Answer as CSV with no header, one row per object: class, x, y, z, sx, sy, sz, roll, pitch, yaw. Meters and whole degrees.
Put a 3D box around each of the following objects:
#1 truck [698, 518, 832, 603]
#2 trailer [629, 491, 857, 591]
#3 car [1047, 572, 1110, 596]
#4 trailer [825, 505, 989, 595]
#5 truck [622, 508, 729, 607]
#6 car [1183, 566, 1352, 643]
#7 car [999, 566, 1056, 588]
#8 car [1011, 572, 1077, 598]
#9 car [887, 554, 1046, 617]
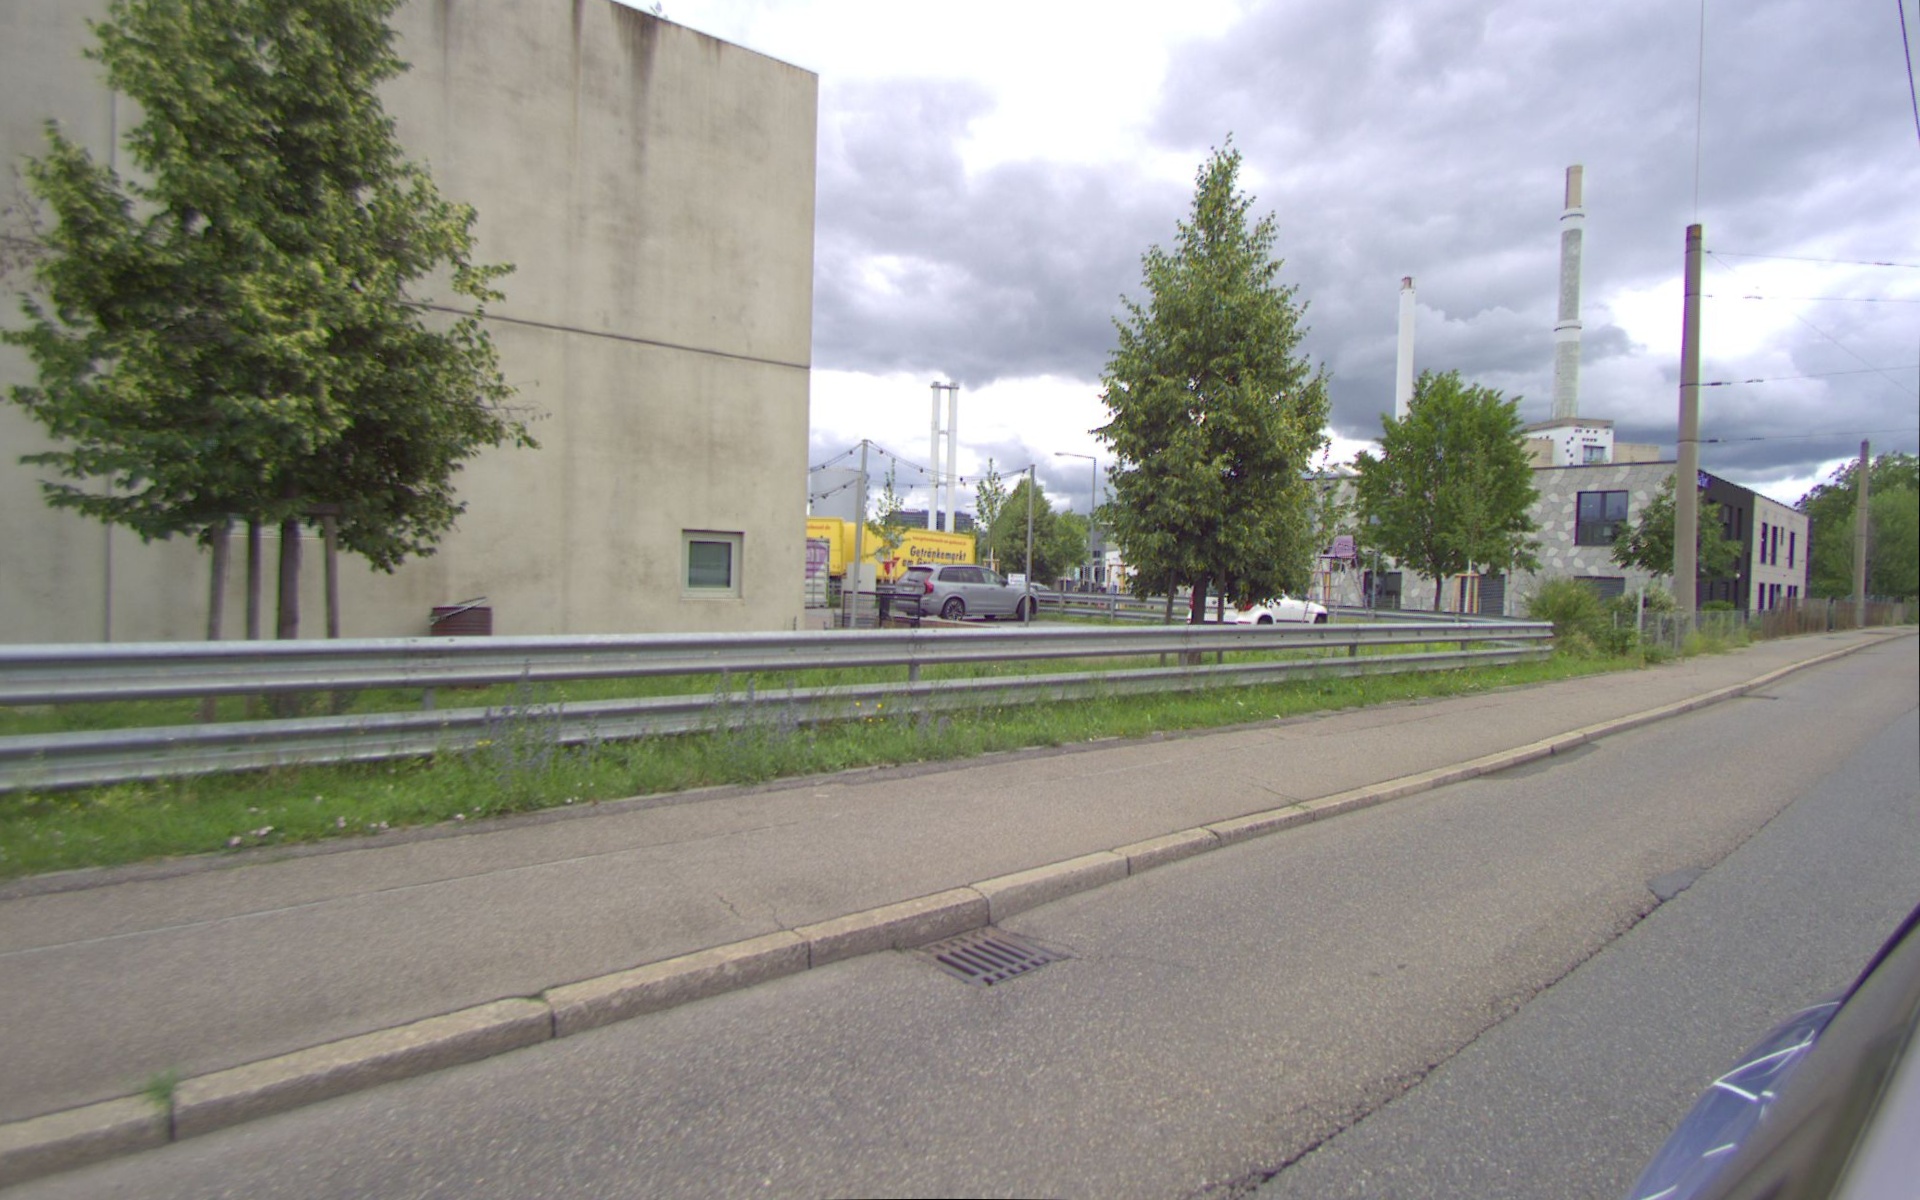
truck,-8.002,-1.445,40.681,2.572,3.075,7.774,-1,0,-33
trailer,-9.918,-2.612,46.491,9.812,4.012,2.926,2,1,-16
car,8.682,-1.207,74.491,4.289,1.604,2.002,2,1,-4
trailer,-2.577,-2.461,52.032,8.553,4.122,2.942,1,2,-45
truck,-10.185,-1.353,35.690,2.302,3.075,7.783,-1,0,-25
car,7.132,0.103,23.265,4.354,1.594,1.752,1,0,-42
car,5.379,-1.835,81.082,4.289,1.604,2.002,2,1,-4
car,5.832,-1.052,70.426,4.289,1.604,2.002,2,1,-4
car,0.245,-0.433,30.363,4.604,1.741,1.916,0,2,-40
